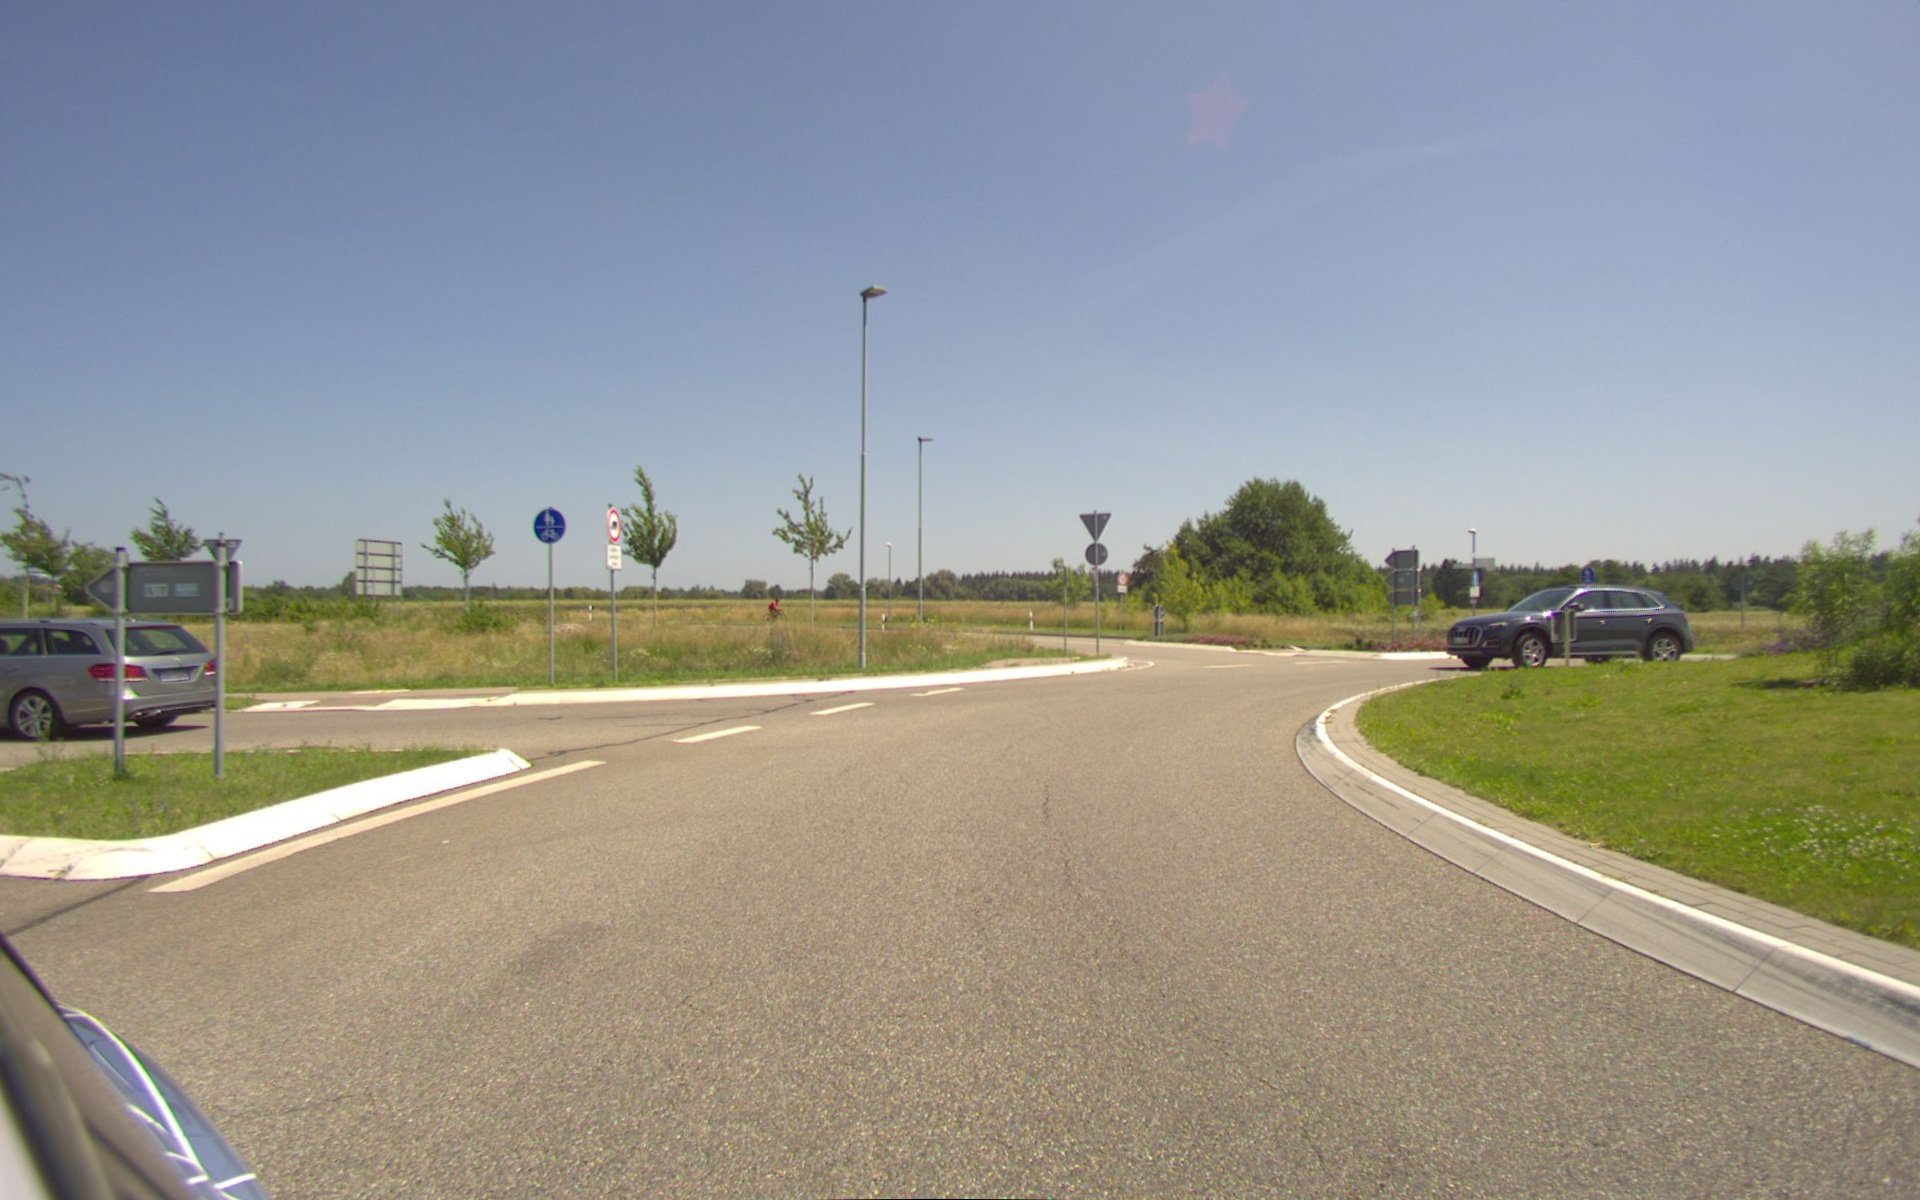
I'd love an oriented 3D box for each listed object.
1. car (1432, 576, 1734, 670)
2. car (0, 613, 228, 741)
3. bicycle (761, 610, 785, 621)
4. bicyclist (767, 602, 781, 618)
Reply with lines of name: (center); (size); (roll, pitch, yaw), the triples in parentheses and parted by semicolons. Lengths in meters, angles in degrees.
car: (12.366, 0.442, 20.302); (4.817, 1.662, 1.955); (-2, 0, -3)
car: (-12.443, 0.952, 13.047); (4.802, 1.502, 1.836); (-1, -1, 3)
bicycle: (-12.263, 1.005, 66.526); (1.458, 0.735, 0.576); (0, -1, 18)
bicyclist: (-12.230, 0.656, 66.522); (0.718, 1.087, 0.576); (0, -1, 18)
